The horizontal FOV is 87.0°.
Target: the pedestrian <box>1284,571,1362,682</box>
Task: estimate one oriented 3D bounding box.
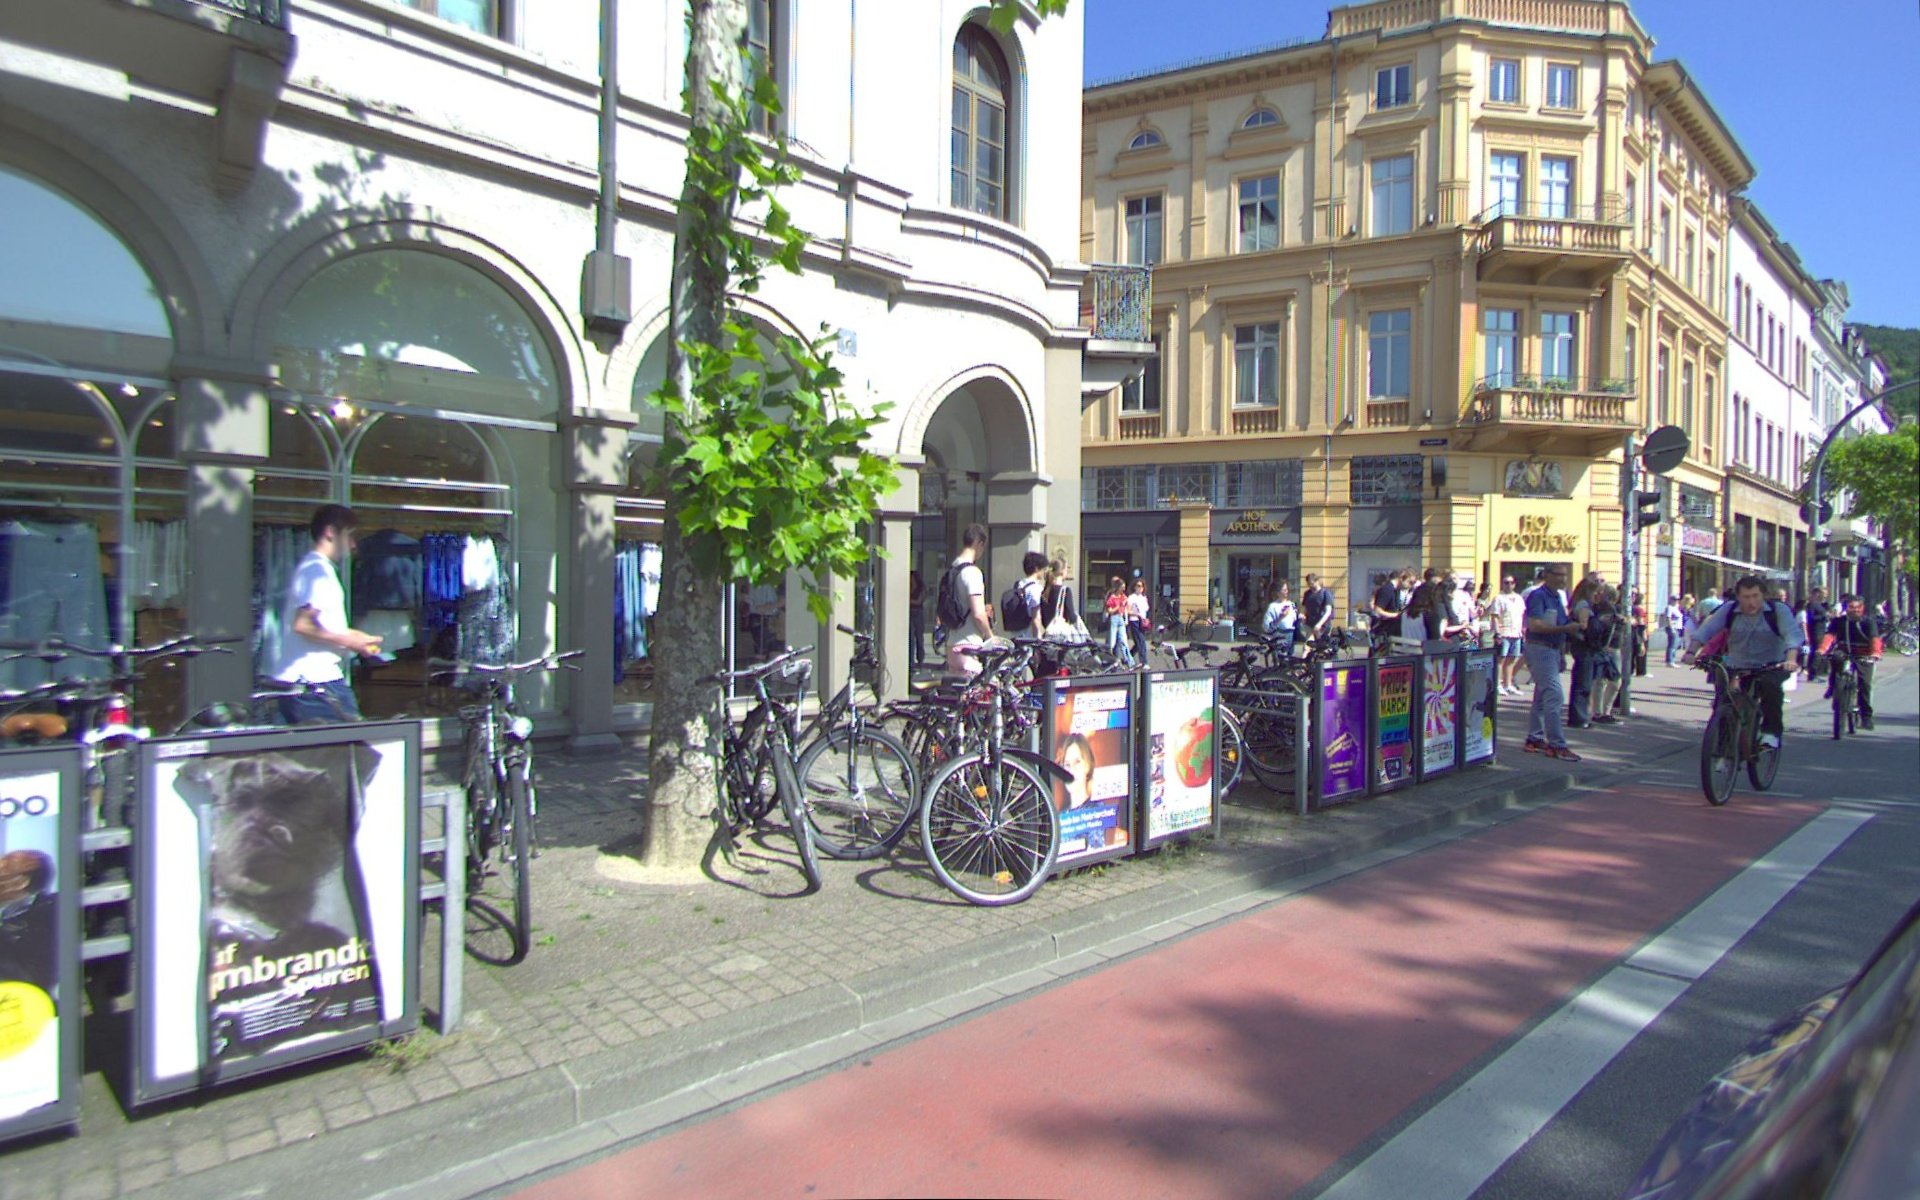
[{"bbox_3d":[6.058,0.423,16.870,1.163,1.780,0.622,0,-1,-34],"label":"pedestrian"}]

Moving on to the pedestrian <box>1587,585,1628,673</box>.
[{"bbox_3d":[12.259,0.538,19.166,0.525,1.624,0.513,0,1,-41],"label":"pedestrian"}]

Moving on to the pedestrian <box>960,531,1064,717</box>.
[{"bbox_3d":[0.531,0.239,10.355,0.764,1.805,0.719,0,-2,-44],"label":"pedestrian"}]

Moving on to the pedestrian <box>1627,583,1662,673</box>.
[{"bbox_3d":[13.208,0.534,19.519,0.470,1.710,0.443,0,0,-41],"label":"pedestrian"}]

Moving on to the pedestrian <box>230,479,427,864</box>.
[{"bbox_3d":[-3.293,0.339,5.279,0.764,1.816,0.634,0,-2,-44],"label":"pedestrian"}]

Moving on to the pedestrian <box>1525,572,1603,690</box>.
[{"bbox_3d":[9.850,0.498,16.530,0.838,1.869,0.623,-1,-1,-3],"label":"pedestrian"}]

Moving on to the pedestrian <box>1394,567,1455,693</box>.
[{"bbox_3d":[6.969,0.449,15.198,0.611,1.840,0.632,-1,-1,5],"label":"pedestrian"}]

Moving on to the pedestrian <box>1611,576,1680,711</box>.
[{"bbox_3d":[8.975,0.545,13.249,0.658,1.705,0.577,0,2,-45],"label":"pedestrian"}]

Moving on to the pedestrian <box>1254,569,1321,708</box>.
[{"bbox_3d":[3.882,0.453,12.029,0.571,1.604,0.518,-1,-1,-2],"label":"pedestrian"}]

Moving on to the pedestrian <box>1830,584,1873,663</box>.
[{"bbox_3d":[20.843,0.533,23.667,0.647,1.801,0.614,2,3,36],"label":"pedestrian"}]

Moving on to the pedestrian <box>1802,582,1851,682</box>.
[{"bbox_3d":[16.974,0.604,19.837,0.575,1.897,0.671,4,2,36],"label":"pedestrian"}]

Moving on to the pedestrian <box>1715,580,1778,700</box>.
[{"bbox_3d":[11.894,0.584,15.322,0.599,1.757,0.643,1,1,26],"label":"pedestrian"}]

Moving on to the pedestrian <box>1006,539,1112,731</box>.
[{"bbox_3d":[0.952,0.324,9.759,0.741,1.763,0.675,0,-2,-44],"label":"pedestrian"}]

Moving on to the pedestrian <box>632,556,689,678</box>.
[{"bbox_3d":[-4.255,0.237,14.397,0.673,1.689,0.623,-1,-1,-7],"label":"pedestrian"}]

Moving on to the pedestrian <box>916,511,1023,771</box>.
[{"bbox_3d":[0.073,0.301,7.811,0.593,1.906,0.545,0,-2,-44],"label":"pedestrian"}]

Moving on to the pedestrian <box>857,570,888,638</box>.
[{"bbox_3d":[-2.427,0.113,28.178,0.611,1.869,0.577,0,-2,-41],"label":"pedestrian"}]

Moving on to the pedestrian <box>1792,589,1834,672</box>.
[{"bbox_3d":[17.954,0.628,21.316,0.575,1.705,0.668,3,1,36],"label":"pedestrian"}]

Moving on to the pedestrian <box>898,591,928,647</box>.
[{"bbox_3d":[-1.375,0.563,29.566,0.611,1.610,0.577,0,-2,-41],"label":"pedestrian"}]

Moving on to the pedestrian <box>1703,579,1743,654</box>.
[{"bbox_3d":[19.009,0.400,25.204,0.754,1.815,0.848,0,0,39],"label":"pedestrian"}]

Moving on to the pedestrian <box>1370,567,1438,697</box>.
[{"bbox_3d":[6.416,0.450,14.635,0.687,1.827,0.649,0,-2,-43],"label":"pedestrian"}]

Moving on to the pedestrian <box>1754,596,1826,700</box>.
[{"bbox_3d":[12.960,0.731,15.825,0.668,1.514,0.630,6,4,34],"label":"pedestrian"}]

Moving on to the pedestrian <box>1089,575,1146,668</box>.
[{"bbox_3d":[2.894,0.388,18.604,0.611,1.668,0.797,0,-2,-41],"label":"pedestrian"}]

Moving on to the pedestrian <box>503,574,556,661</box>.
[{"bbox_3d":[-7.360,0.298,17.321,0.572,1.462,0.617,-1,-1,23],"label":"pedestrian"}]

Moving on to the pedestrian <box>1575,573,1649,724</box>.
[{"bbox_3d":[7.673,0.548,11.915,0.581,1.705,0.568,0,2,-45],"label":"pedestrian"}]

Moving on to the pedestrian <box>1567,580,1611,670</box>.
[{"bbox_3d":[12.396,0.481,19.956,0.611,1.747,0.577,0,0,-41],"label":"pedestrian"}]

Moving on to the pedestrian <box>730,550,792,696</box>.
[{"bbox_3d":[-2.373,0.270,12.099,0.673,1.689,0.623,-1,-1,-7],"label":"pedestrian"}]

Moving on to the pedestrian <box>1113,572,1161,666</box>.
[{"bbox_3d":[3.410,0.364,19.517,0.687,1.777,0.577,0,-2,-41],"label":"pedestrian"}]

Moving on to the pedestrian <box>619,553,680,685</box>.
[{"bbox_3d":[-4.090,0.245,13.364,0.673,1.689,0.623,-1,-1,-7],"label":"pedestrian"}]

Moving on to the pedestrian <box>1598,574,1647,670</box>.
[{"bbox_3d":[13.188,0.423,20.148,0.594,1.837,0.578,0,3,-40],"label":"pedestrian"}]

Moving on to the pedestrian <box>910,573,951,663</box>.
[{"bbox_3d":[-0.627,0.371,21.498,0.611,1.869,0.577,0,-2,-41],"label":"pedestrian"}]

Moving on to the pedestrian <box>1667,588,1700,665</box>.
[{"bbox_3d":[16.026,0.571,22.430,0.575,1.681,0.614,1,0,37],"label":"pedestrian"}]

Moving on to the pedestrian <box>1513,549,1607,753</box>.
[{"bbox_3d":[5.785,0.469,9.756,0.706,1.869,0.576,0,-2,-45],"label":"pedestrian"}]

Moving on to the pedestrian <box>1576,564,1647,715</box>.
[{"bbox_3d":[8.129,0.469,12.627,0.688,1.807,0.577,0,1,-45],"label":"pedestrian"}]

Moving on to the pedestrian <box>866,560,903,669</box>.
[{"bbox_3d":[-1.315,0.254,17.748,0.610,1.869,0.791,-1,-1,-2],"label":"pedestrian"}]

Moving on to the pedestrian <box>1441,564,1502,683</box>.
[{"bbox_3d":[8.259,0.368,16.356,0.611,1.869,0.664,0,-2,-41],"label":"pedestrian"}]

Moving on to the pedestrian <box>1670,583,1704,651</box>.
[{"bbox_3d":[18.496,0.427,25.755,0.684,1.706,0.570,0,0,38],"label":"pedestrian"}]

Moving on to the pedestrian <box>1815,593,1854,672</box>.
[{"bbox_3d":[18.663,0.678,21.603,0.528,1.615,0.581,3,2,37],"label":"pedestrian"}]

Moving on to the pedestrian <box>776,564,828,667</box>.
[{"bbox_3d":[-2.638,0.257,16.927,0.619,1.690,0.570,0,-2,39],"label":"pedestrian"}]

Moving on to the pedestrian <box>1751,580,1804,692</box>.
[{"bbox_3d":[13.327,0.578,16.502,0.576,1.752,0.708,3,0,41],"label":"pedestrian"}]

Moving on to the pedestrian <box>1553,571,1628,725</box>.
[{"bbox_3d":[7.254,0.534,11.640,0.612,1.706,0.577,0,-2,-45],"label":"pedestrian"}]

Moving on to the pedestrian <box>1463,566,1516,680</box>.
[{"bbox_3d":[8.910,0.379,17.031,0.611,1.869,0.577,0,-2,-41],"label":"pedestrian"}]

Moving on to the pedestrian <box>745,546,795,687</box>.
[{"bbox_3d":[-2.461,0.208,13.162,0.594,1.787,0.623,-1,-1,-7],"label":"pedestrian"}]
